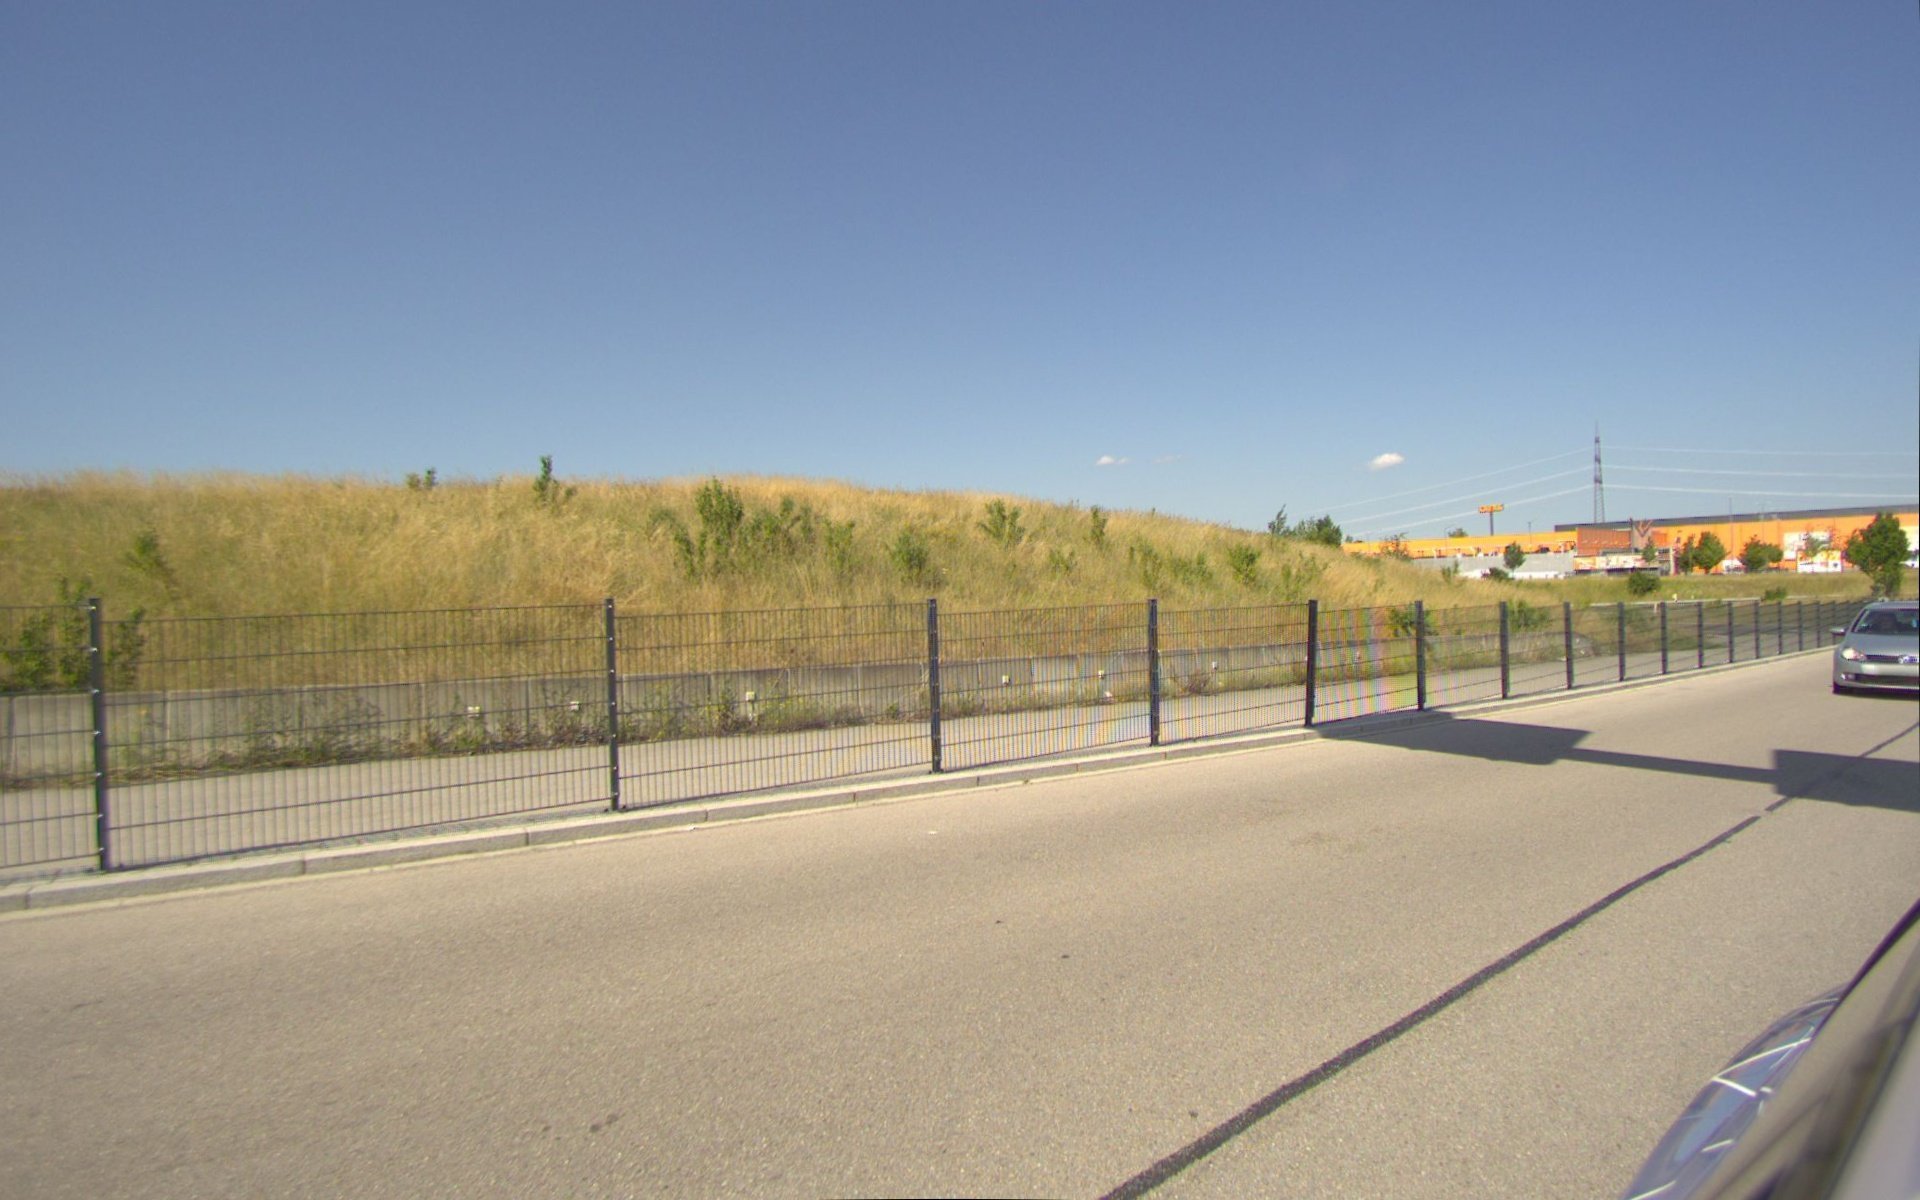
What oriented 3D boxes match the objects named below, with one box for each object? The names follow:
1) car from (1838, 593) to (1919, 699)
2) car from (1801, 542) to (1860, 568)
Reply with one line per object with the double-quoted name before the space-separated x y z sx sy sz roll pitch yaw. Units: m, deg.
"car" 15.422 0.672 16.068 3.892 1.486 1.745 -1 2 -42
"car" 93.169 -4.781 108.351 4.621 2.581 1.968 -2 -1 45
